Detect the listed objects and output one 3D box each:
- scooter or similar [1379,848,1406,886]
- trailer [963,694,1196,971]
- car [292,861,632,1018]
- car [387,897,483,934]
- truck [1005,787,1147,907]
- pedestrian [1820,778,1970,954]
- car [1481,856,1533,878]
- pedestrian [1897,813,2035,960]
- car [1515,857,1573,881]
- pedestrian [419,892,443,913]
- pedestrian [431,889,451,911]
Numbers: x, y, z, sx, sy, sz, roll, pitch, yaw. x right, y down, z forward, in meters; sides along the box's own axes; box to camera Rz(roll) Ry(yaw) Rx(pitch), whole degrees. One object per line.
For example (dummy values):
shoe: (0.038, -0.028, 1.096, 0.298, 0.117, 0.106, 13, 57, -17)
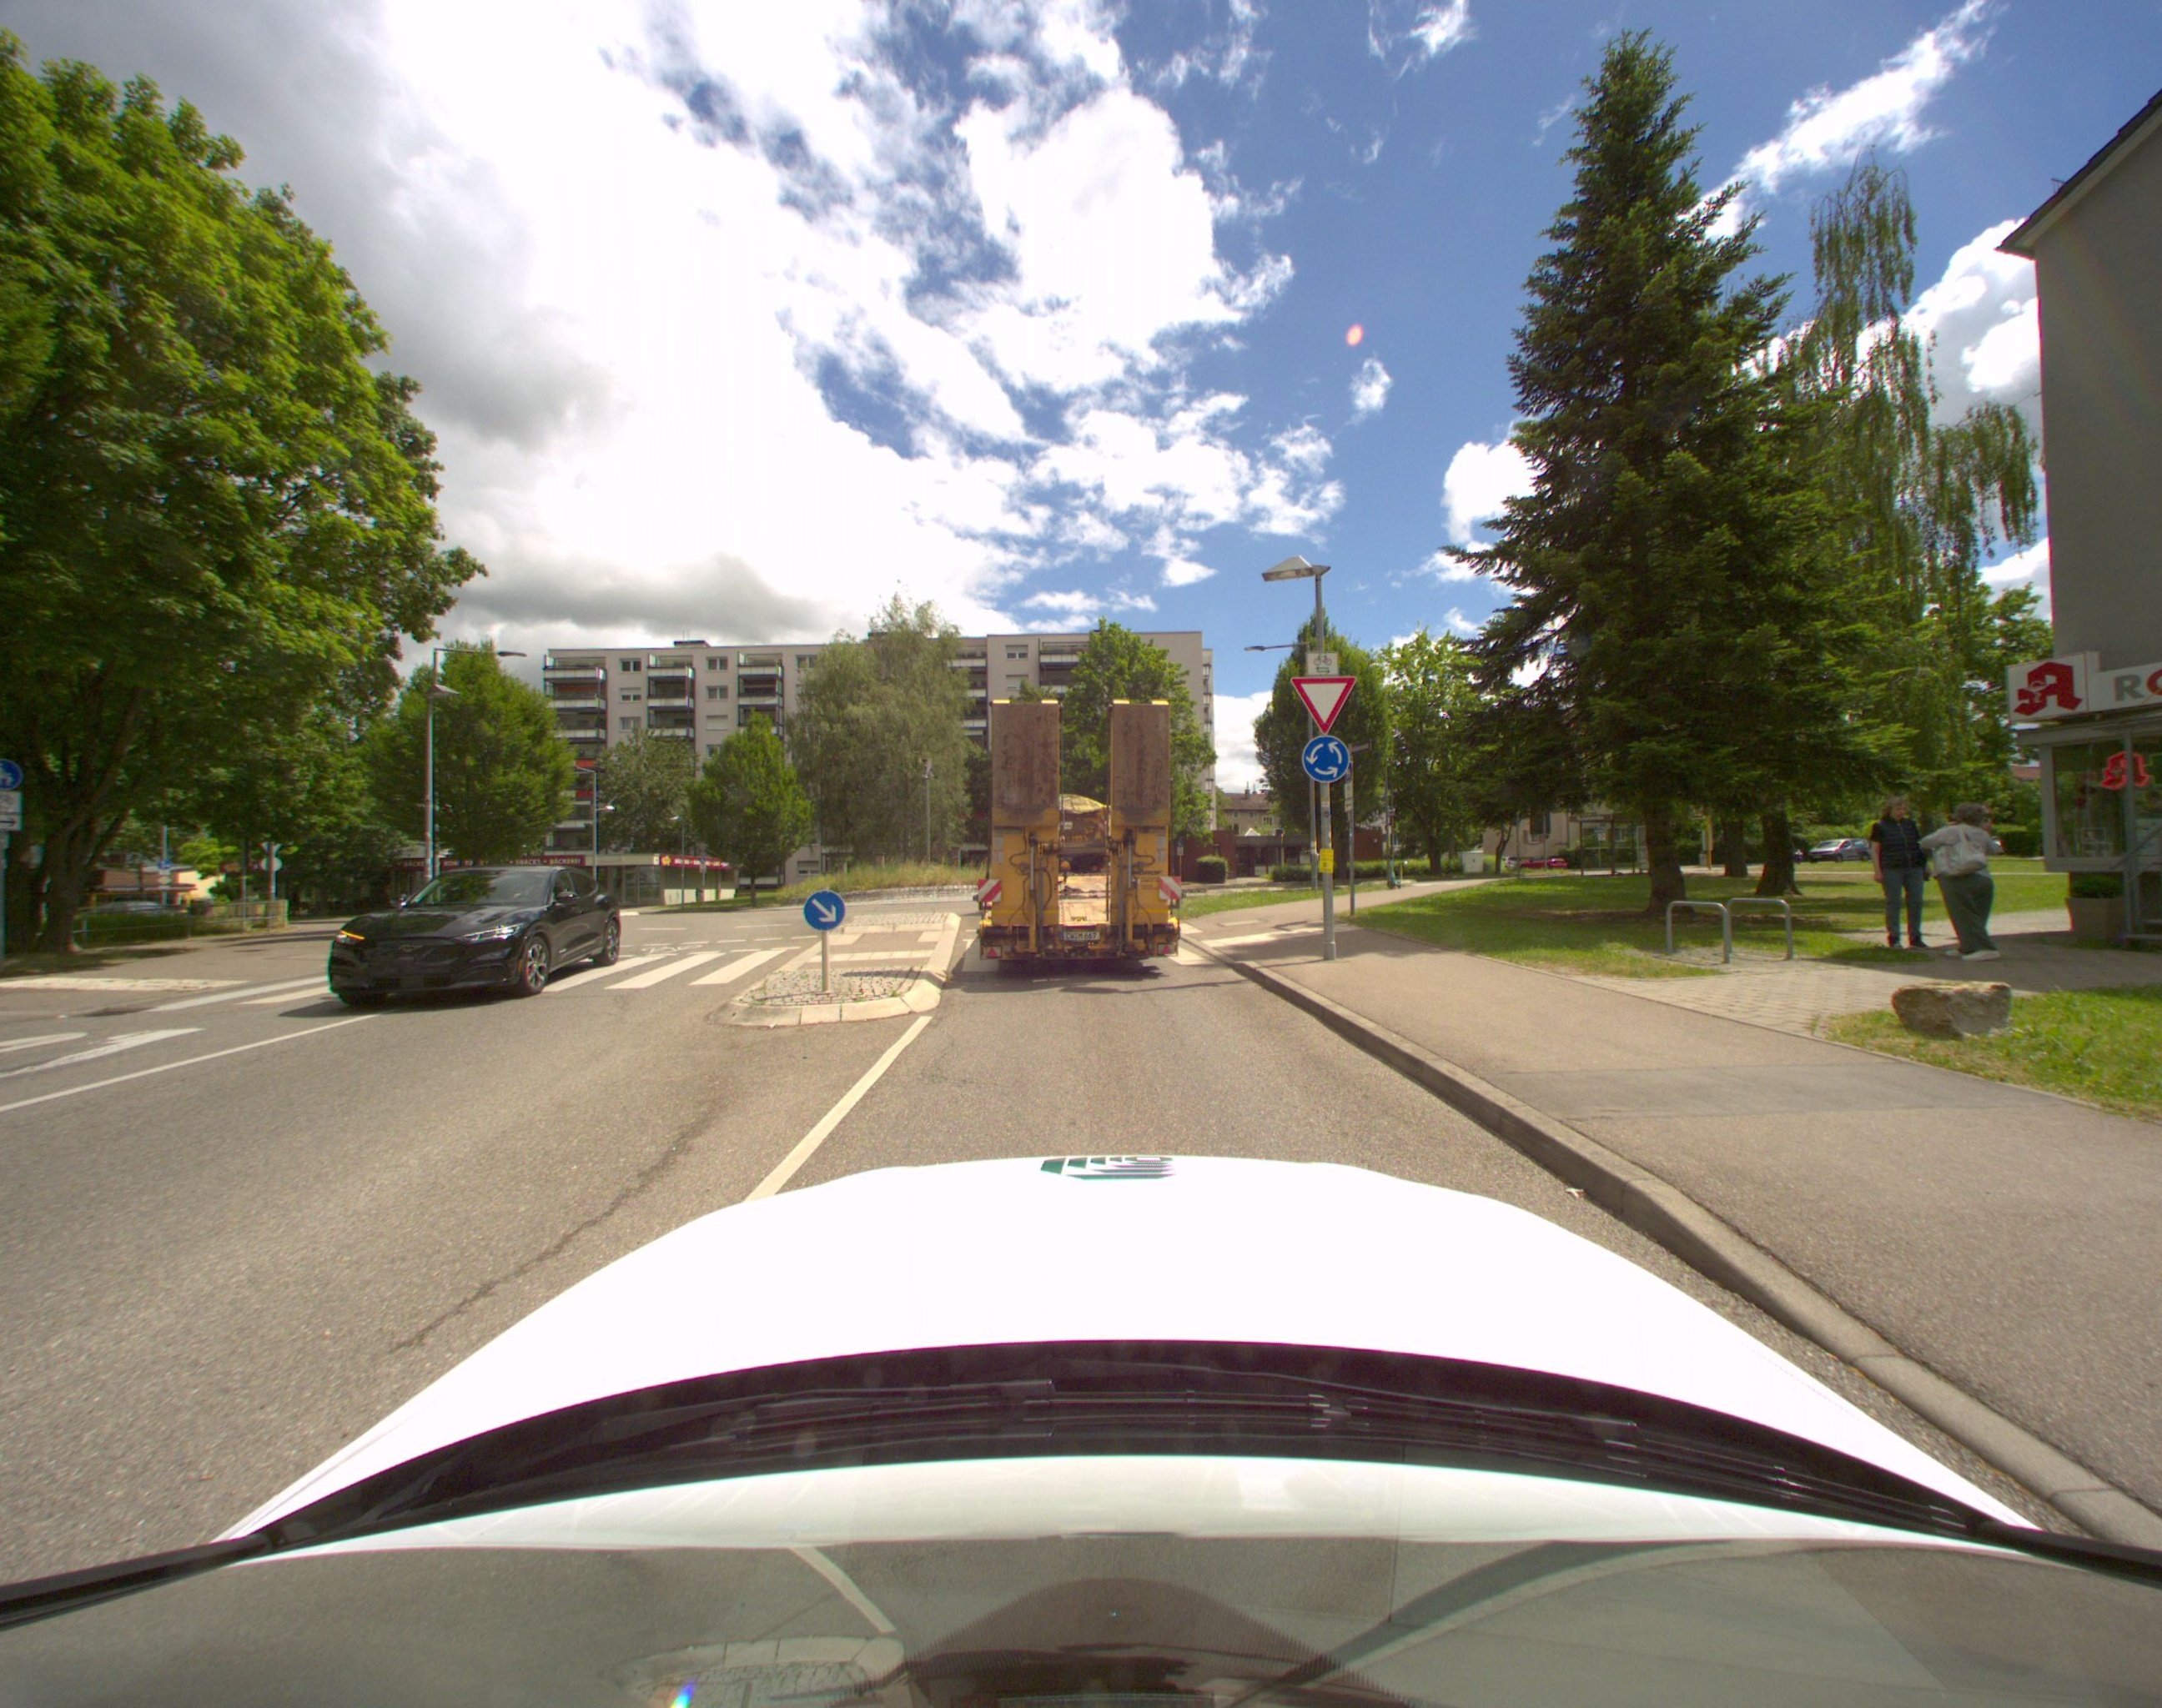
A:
scooter or similar: (11.384, 0.469, 29.786, 0.480, 1.343, 1.397, -3, -1, 38)
trailer: (-0.167, -0.267, 15.406, 2.856, 3.372, 10.833, 0, 0, -2)
car: (-7.792, 0.913, 10.924, 1.997, 1.525, 4.502, -1, 1, -14)
car: (-27.330, 2.567, 34.427, 4.558, 1.384, 1.835, -3, -1, 33)
truck: (0.186, -0.244, 25.022, 2.970, 3.034, 8.508, 0, 1, 9)
pedestrian: (9.884, 0.139, 9.929, 0.654, 2.014, 1.042, -2, -1, -12)
car: (38.229, 1.147, 73.169, 1.997, 1.942, 3.979, 0, -1, -15)
pedestrian: (9.705, 0.346, 8.954, 0.741, 1.530, 0.689, -2, -1, -8)
car: (39.145, 1.278, 68.965, 2.015, 1.942, 3.979, 0, -1, -15)
pedestrian: (-42.395, 3.132, 53.157, 0.817, 1.325, 0.880, 1, -1, -1)
pedestrian: (-42.449, 3.049, 54.016, 0.693, 1.381, 0.721, -2, -1, 6)
